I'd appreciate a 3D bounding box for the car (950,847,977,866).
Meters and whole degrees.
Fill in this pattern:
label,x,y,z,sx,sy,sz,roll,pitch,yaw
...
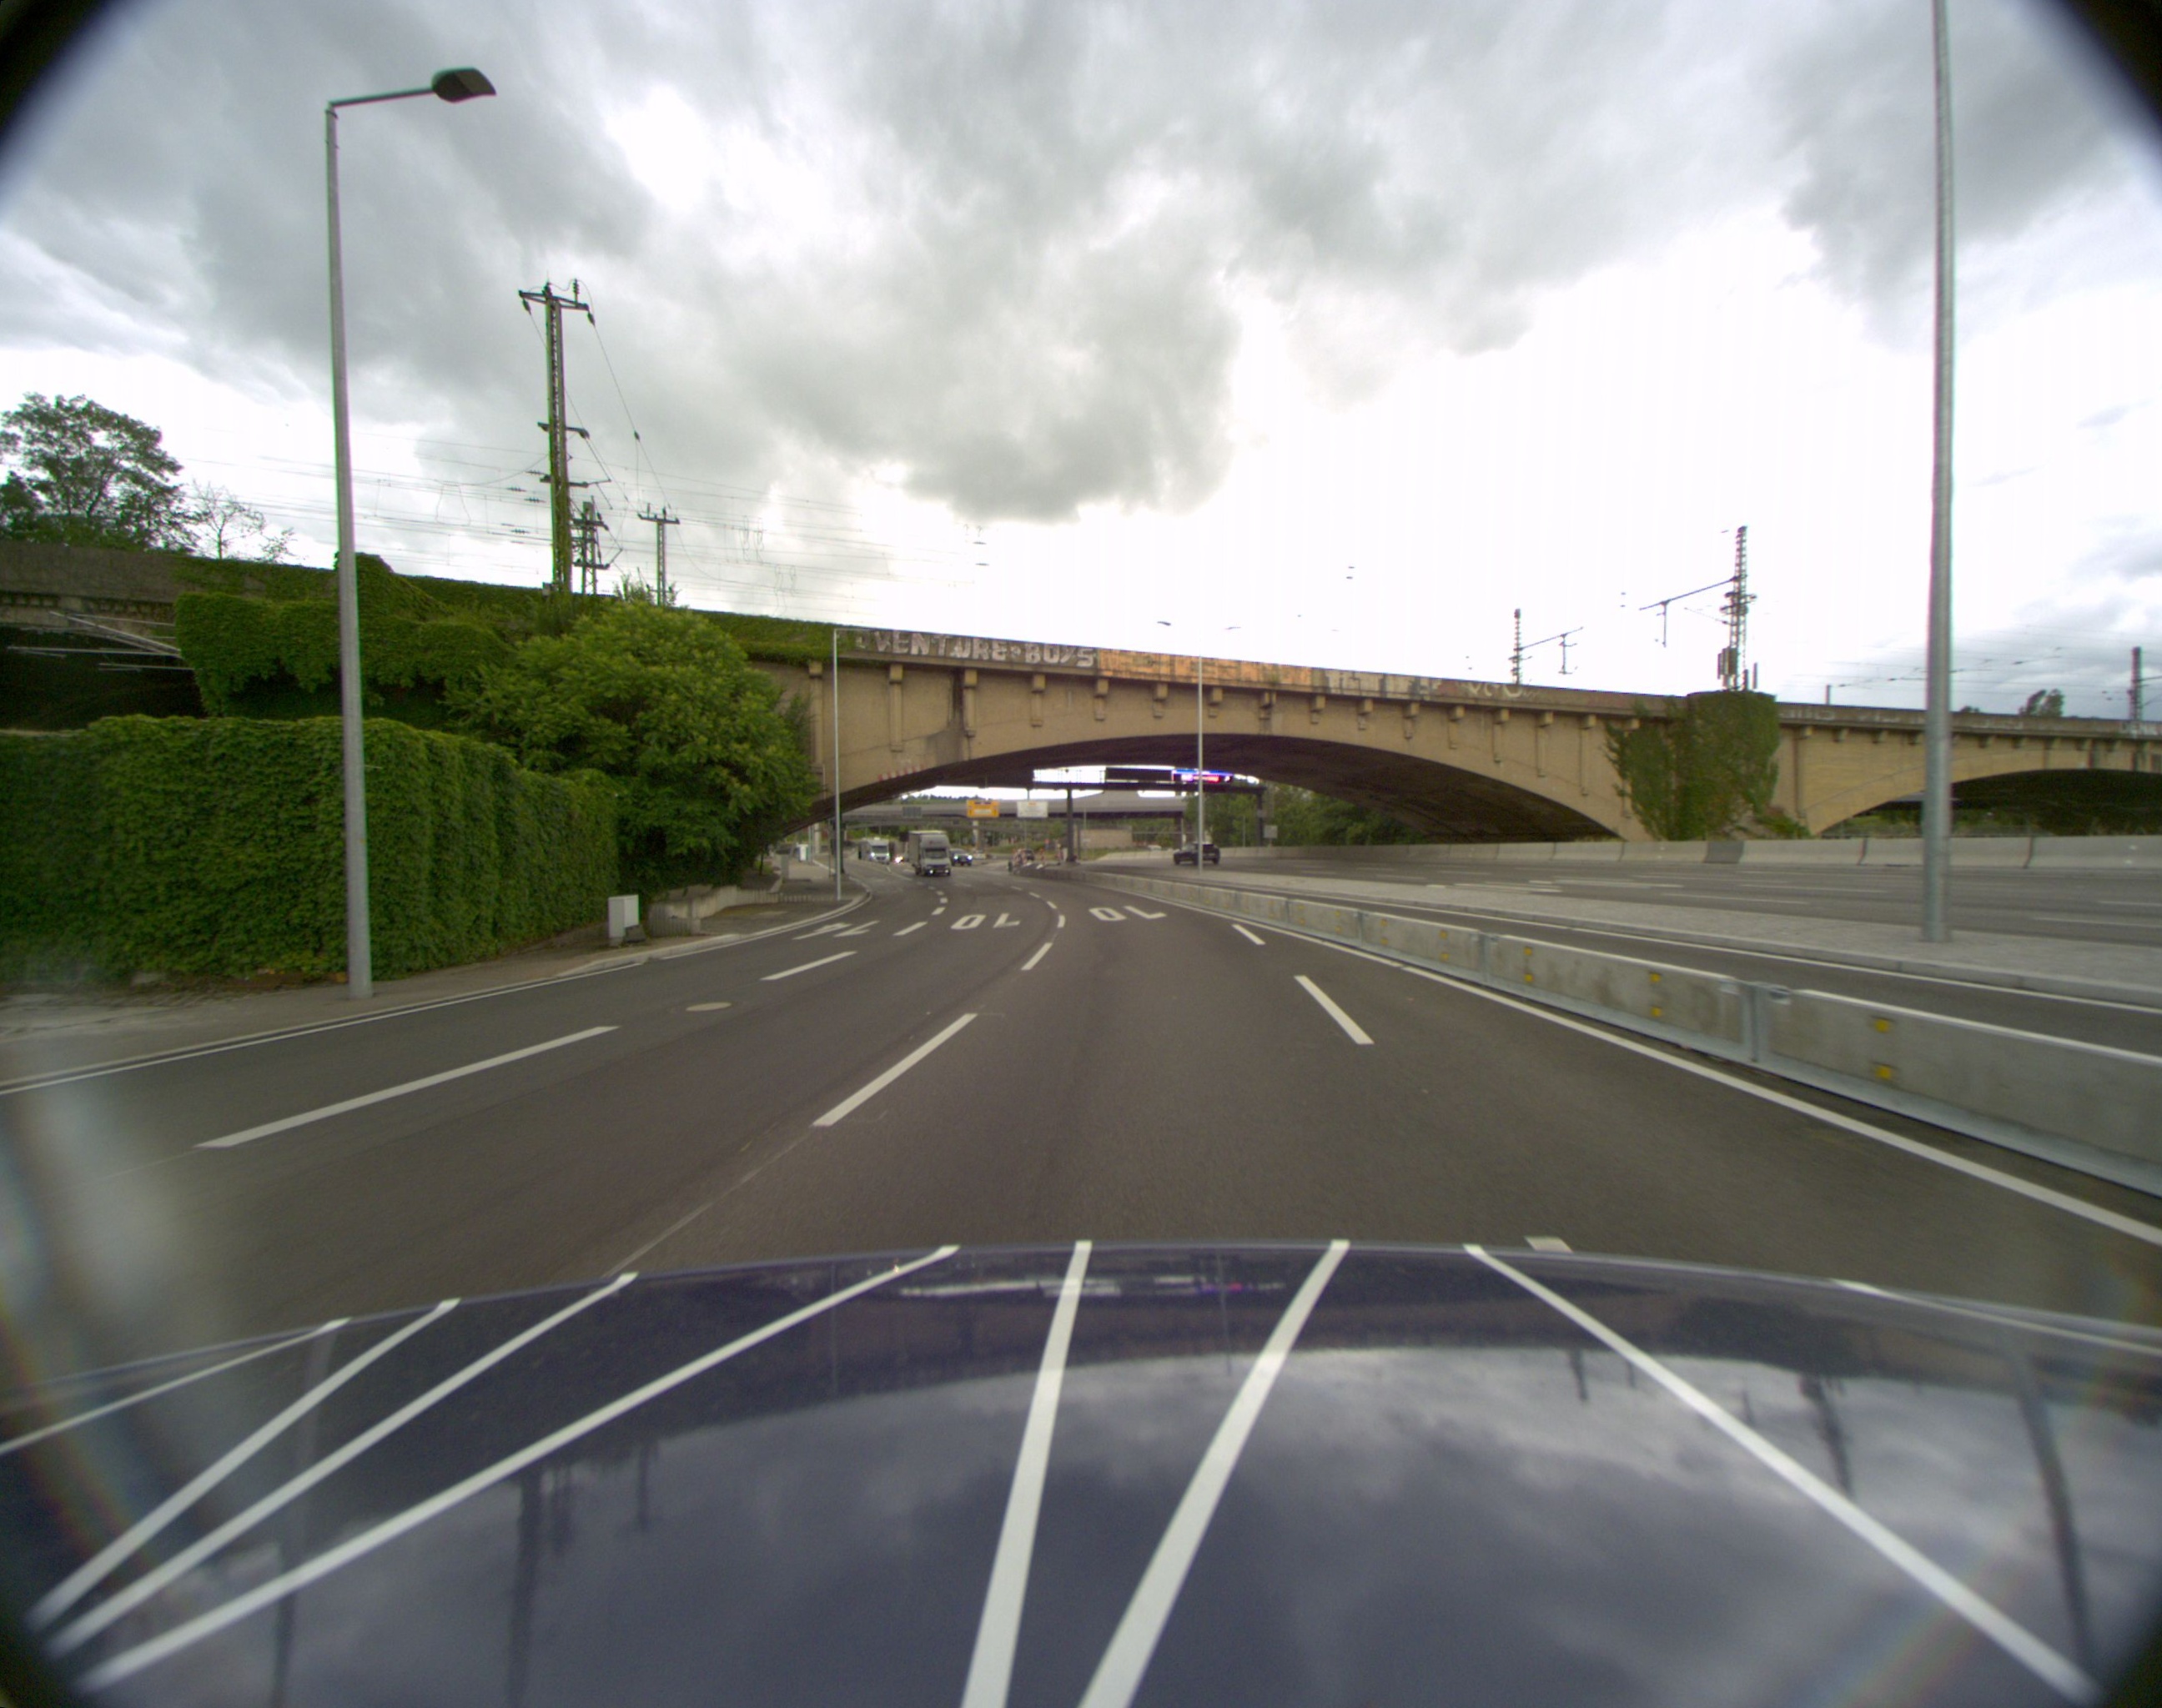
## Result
label,x,y,z,sx,sy,sz,roll,pitch,yaw
car,-12.041,0.290,77.522,1.871,1.827,4.198,-2,1,-20

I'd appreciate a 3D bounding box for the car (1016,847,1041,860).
label,x,y,z,sx,sy,sz,roll,pitch,yaw
car,-6.428,-0.086,92.167,1.825,1.528,4.393,-3,1,-20

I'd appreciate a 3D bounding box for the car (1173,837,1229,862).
label,x,y,z,sx,sy,sz,roll,pitch,yaw
car,8.278,-0.255,52.746,2.002,1.575,4.130,-2,0,-20

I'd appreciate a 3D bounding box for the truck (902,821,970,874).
label,x,y,z,sx,sy,sz,roll,pitch,yaw
truck,-11.294,-0.398,58.451,3.037,3.567,8.934,-5,1,-23

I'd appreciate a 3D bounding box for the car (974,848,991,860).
label,x,y,z,sx,sy,sz,roll,pitch,yaw
car,-15.754,0.041,121.537,2.001,1.761,3.994,-3,1,-15

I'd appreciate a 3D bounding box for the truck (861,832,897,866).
label,x,y,z,sx,sy,sz,roll,pitch,yaw
truck,-22.969,-0.547,85.943,2.578,3.548,9.097,-2,1,-23
